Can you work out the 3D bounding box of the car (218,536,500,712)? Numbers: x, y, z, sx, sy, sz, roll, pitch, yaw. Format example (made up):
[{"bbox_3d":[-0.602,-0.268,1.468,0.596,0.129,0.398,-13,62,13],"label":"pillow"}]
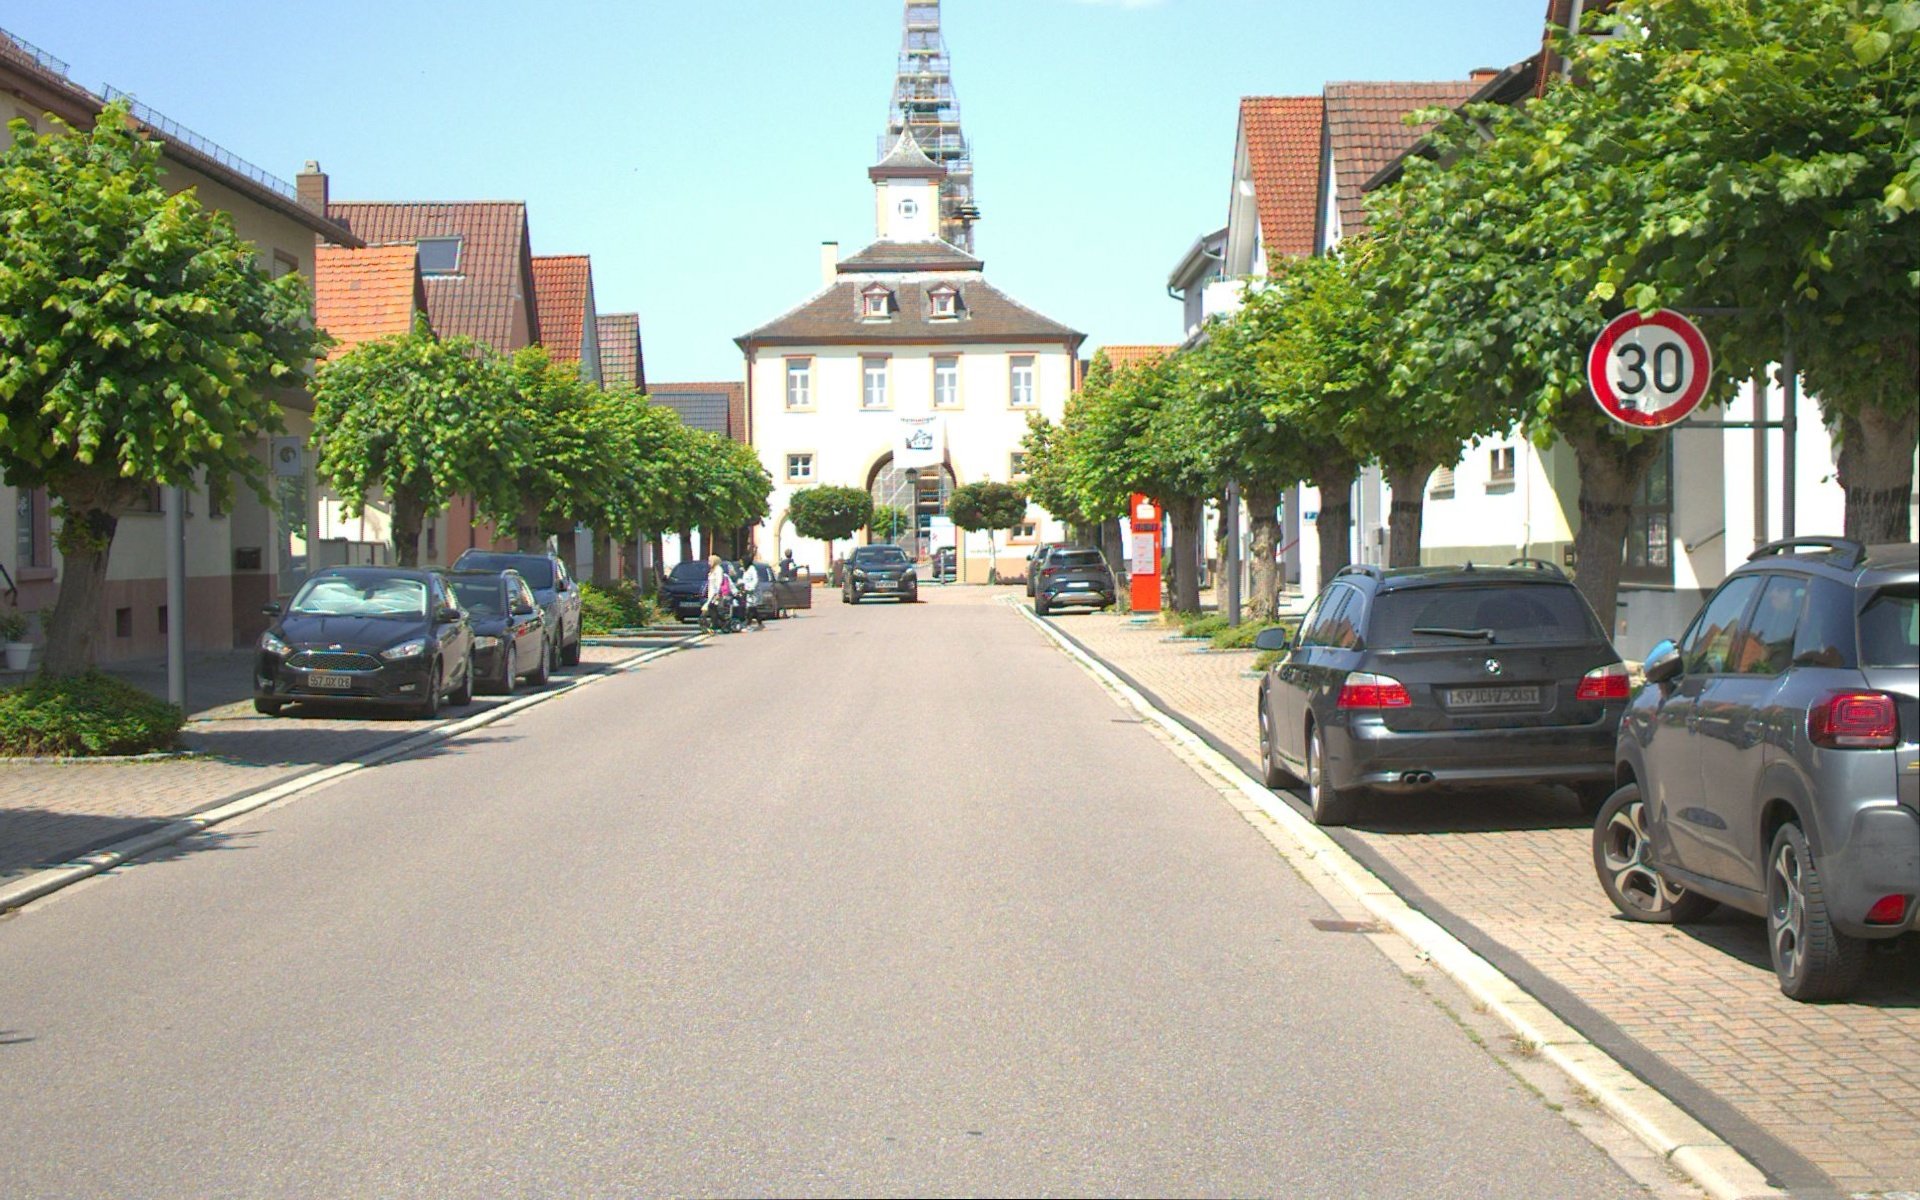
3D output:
[{"bbox_3d":[-6.083,0.189,35.356,1.993,1.606,4.689,1,2,1],"label":"car"}]

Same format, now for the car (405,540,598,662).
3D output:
[{"bbox_3d":[-6.326,-0.023,47.935,1.993,1.606,4.689,-1,1,1],"label":"car"}]

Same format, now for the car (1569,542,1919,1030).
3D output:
[{"bbox_3d":[3.693,0.580,13.364,1.837,1.602,4.000,0,1,-2],"label":"car"}]

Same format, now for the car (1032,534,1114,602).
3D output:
[{"bbox_3d":[2.726,-0.793,83.748,1.837,1.550,4.314,-2,1,0],"label":"car"}]

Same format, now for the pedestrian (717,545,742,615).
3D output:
[{"bbox_3d":[-4.637,-0.404,69.241,0.358,1.398,0.319,0,1,37],"label":"pedestrian"}]

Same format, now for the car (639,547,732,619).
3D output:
[{"bbox_3d":[-6.208,-0.406,78.120,1.757,1.550,4.020,0,1,0],"label":"car"}]

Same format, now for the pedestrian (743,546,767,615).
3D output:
[{"bbox_3d":[-4.138,-0.392,69.318,0.358,1.398,0.319,0,1,37],"label":"pedestrian"}]

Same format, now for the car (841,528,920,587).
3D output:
[{"bbox_3d":[-2.314,-1.203,98.601,1.993,1.606,4.507,1,0,-4],"label":"car"}]

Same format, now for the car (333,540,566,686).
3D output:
[{"bbox_3d":[-6.009,0.133,41.024,1.993,1.606,4.689,1,0,1],"label":"car"}]

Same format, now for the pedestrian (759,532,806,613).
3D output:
[{"bbox_3d":[-4.470,-0.689,86.435,0.832,2.007,0.887,1,0,-28],"label":"pedestrian"}]

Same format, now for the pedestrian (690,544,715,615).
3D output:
[{"bbox_3d":[-5.096,-0.409,68.063,0.358,1.398,0.319,0,1,37],"label":"pedestrian"}]

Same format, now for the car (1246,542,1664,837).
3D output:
[{"bbox_3d":[2.891,0.454,20.968,1.837,1.550,4.314,-2,1,-1],"label":"car"}]
